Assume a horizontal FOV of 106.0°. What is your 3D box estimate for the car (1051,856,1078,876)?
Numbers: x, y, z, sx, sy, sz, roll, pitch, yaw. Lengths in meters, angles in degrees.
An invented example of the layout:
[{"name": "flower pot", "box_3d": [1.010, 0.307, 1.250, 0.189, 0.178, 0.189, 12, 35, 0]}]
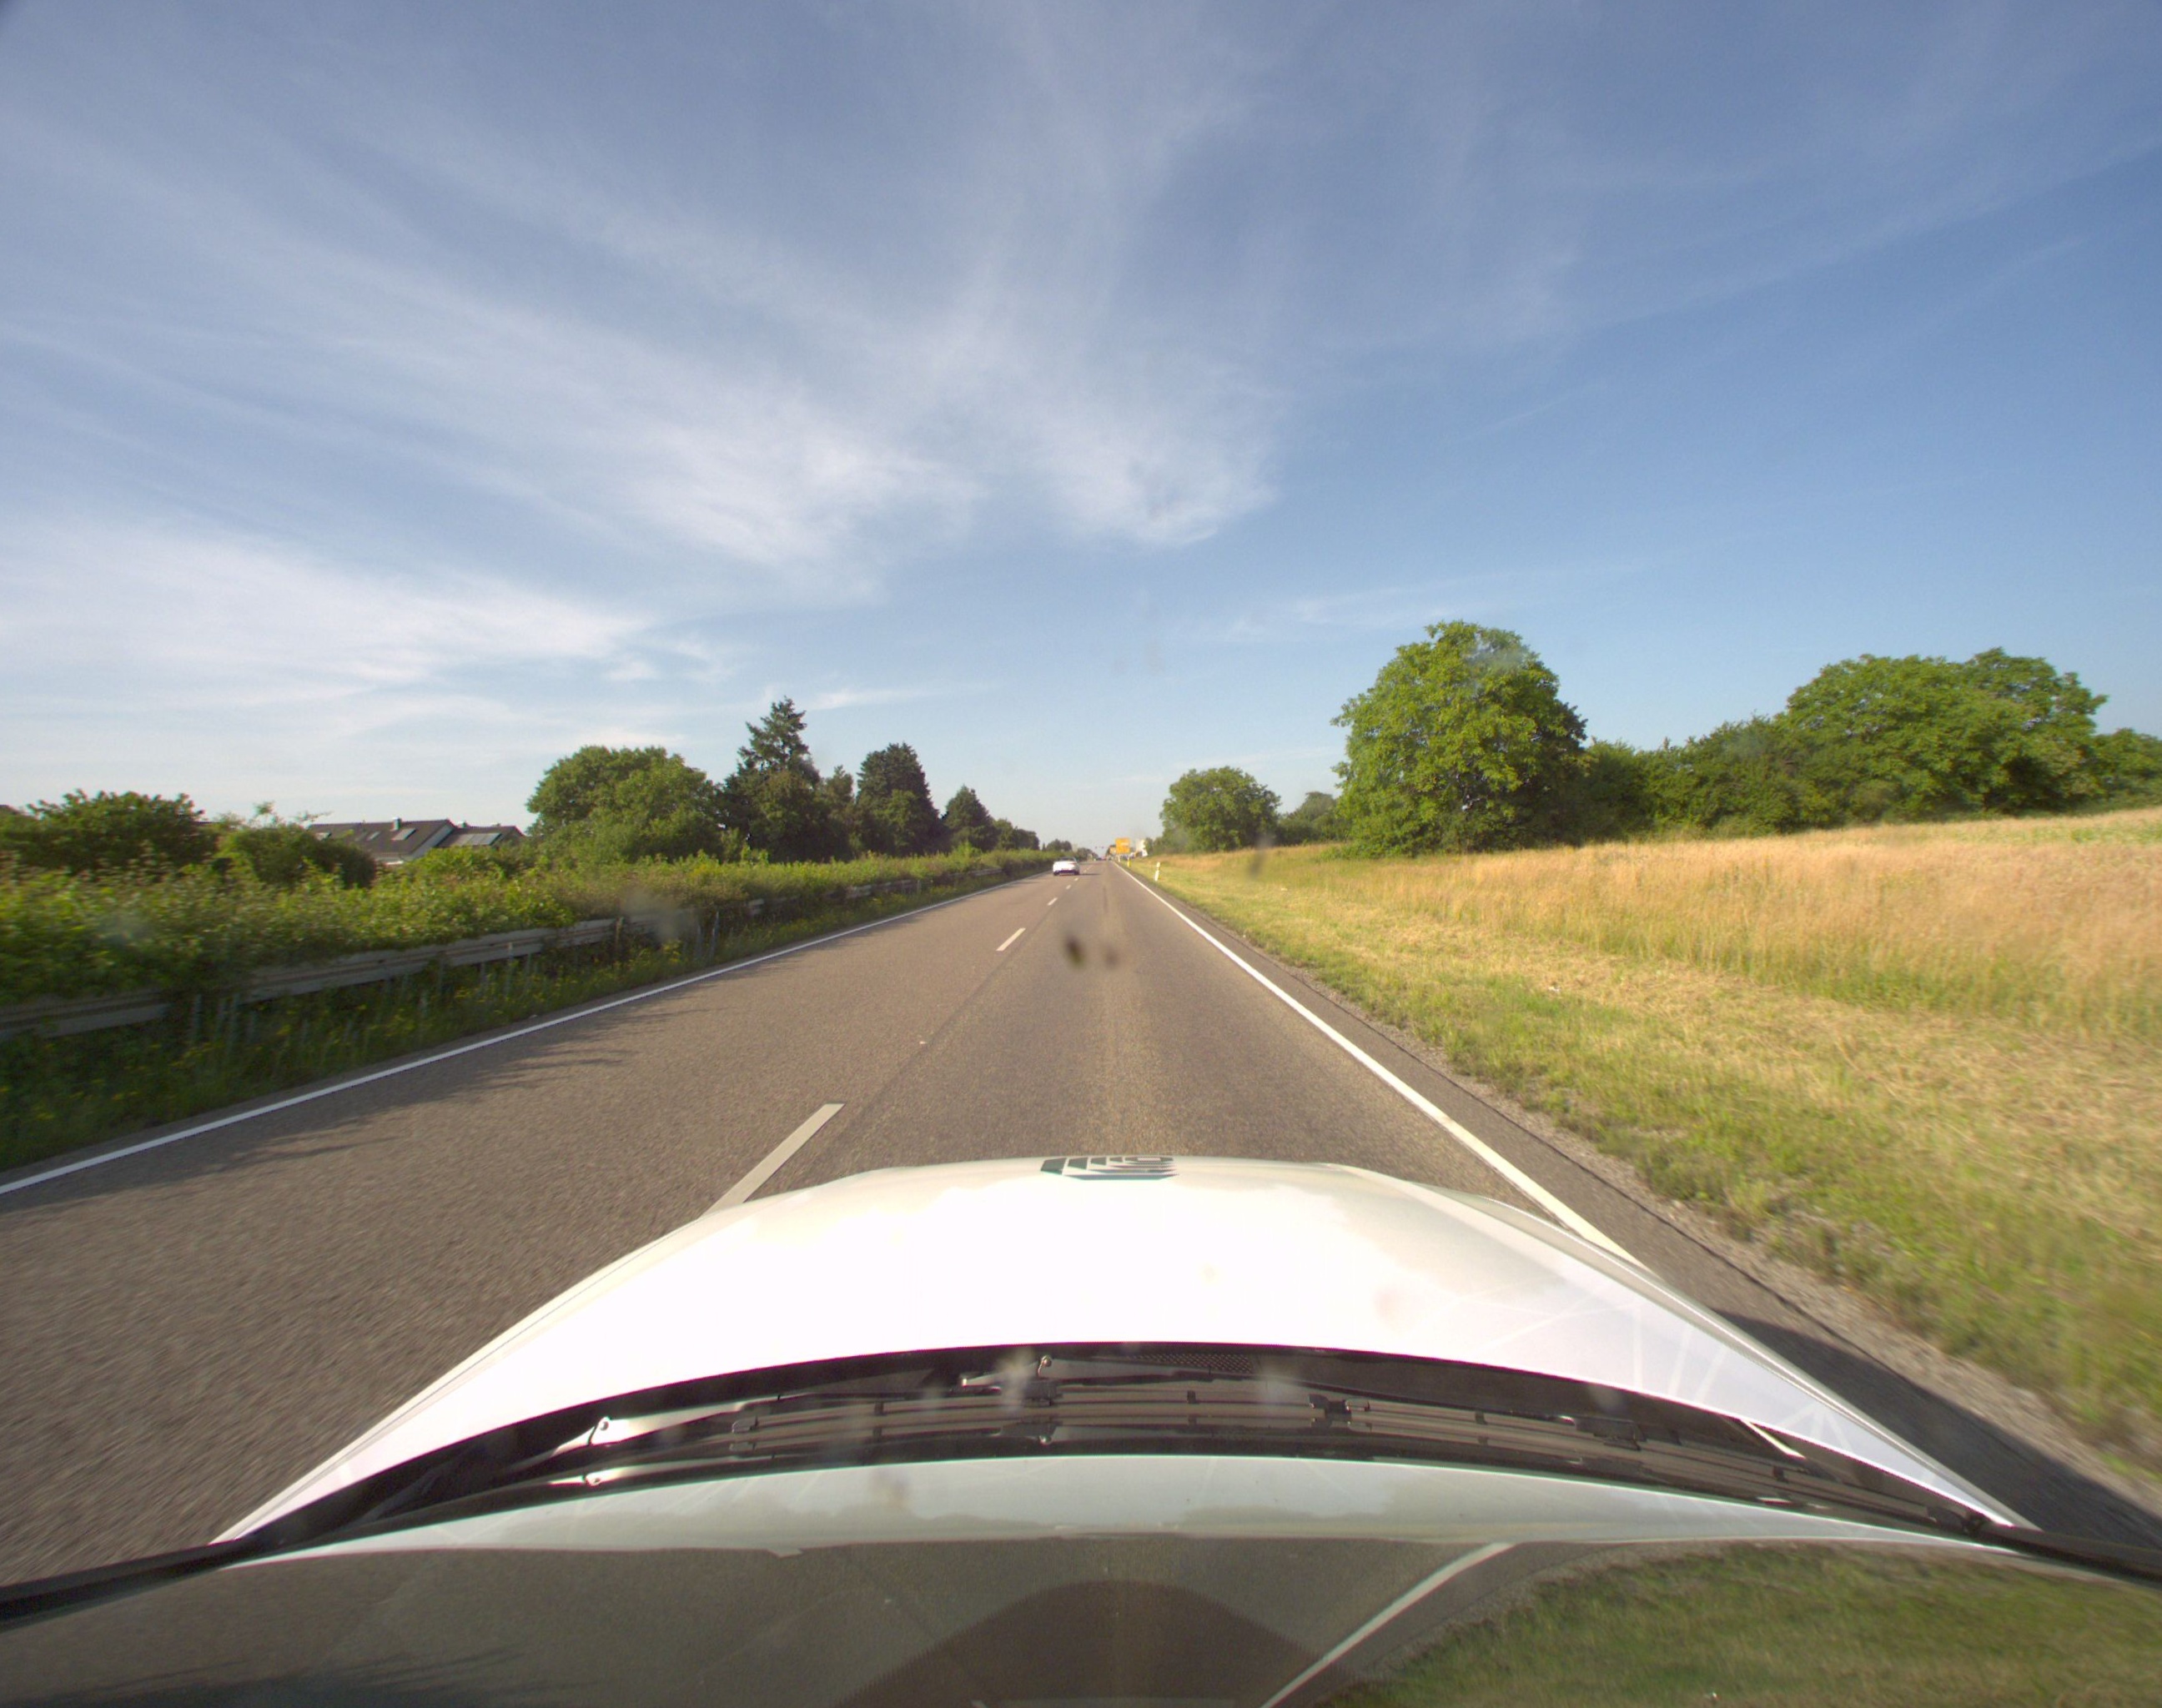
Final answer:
[{"name": "car", "box_3d": [-1.225, 0.916, 61.721, 1.903, 1.422, 4.000, -1, 0, 1]}]
